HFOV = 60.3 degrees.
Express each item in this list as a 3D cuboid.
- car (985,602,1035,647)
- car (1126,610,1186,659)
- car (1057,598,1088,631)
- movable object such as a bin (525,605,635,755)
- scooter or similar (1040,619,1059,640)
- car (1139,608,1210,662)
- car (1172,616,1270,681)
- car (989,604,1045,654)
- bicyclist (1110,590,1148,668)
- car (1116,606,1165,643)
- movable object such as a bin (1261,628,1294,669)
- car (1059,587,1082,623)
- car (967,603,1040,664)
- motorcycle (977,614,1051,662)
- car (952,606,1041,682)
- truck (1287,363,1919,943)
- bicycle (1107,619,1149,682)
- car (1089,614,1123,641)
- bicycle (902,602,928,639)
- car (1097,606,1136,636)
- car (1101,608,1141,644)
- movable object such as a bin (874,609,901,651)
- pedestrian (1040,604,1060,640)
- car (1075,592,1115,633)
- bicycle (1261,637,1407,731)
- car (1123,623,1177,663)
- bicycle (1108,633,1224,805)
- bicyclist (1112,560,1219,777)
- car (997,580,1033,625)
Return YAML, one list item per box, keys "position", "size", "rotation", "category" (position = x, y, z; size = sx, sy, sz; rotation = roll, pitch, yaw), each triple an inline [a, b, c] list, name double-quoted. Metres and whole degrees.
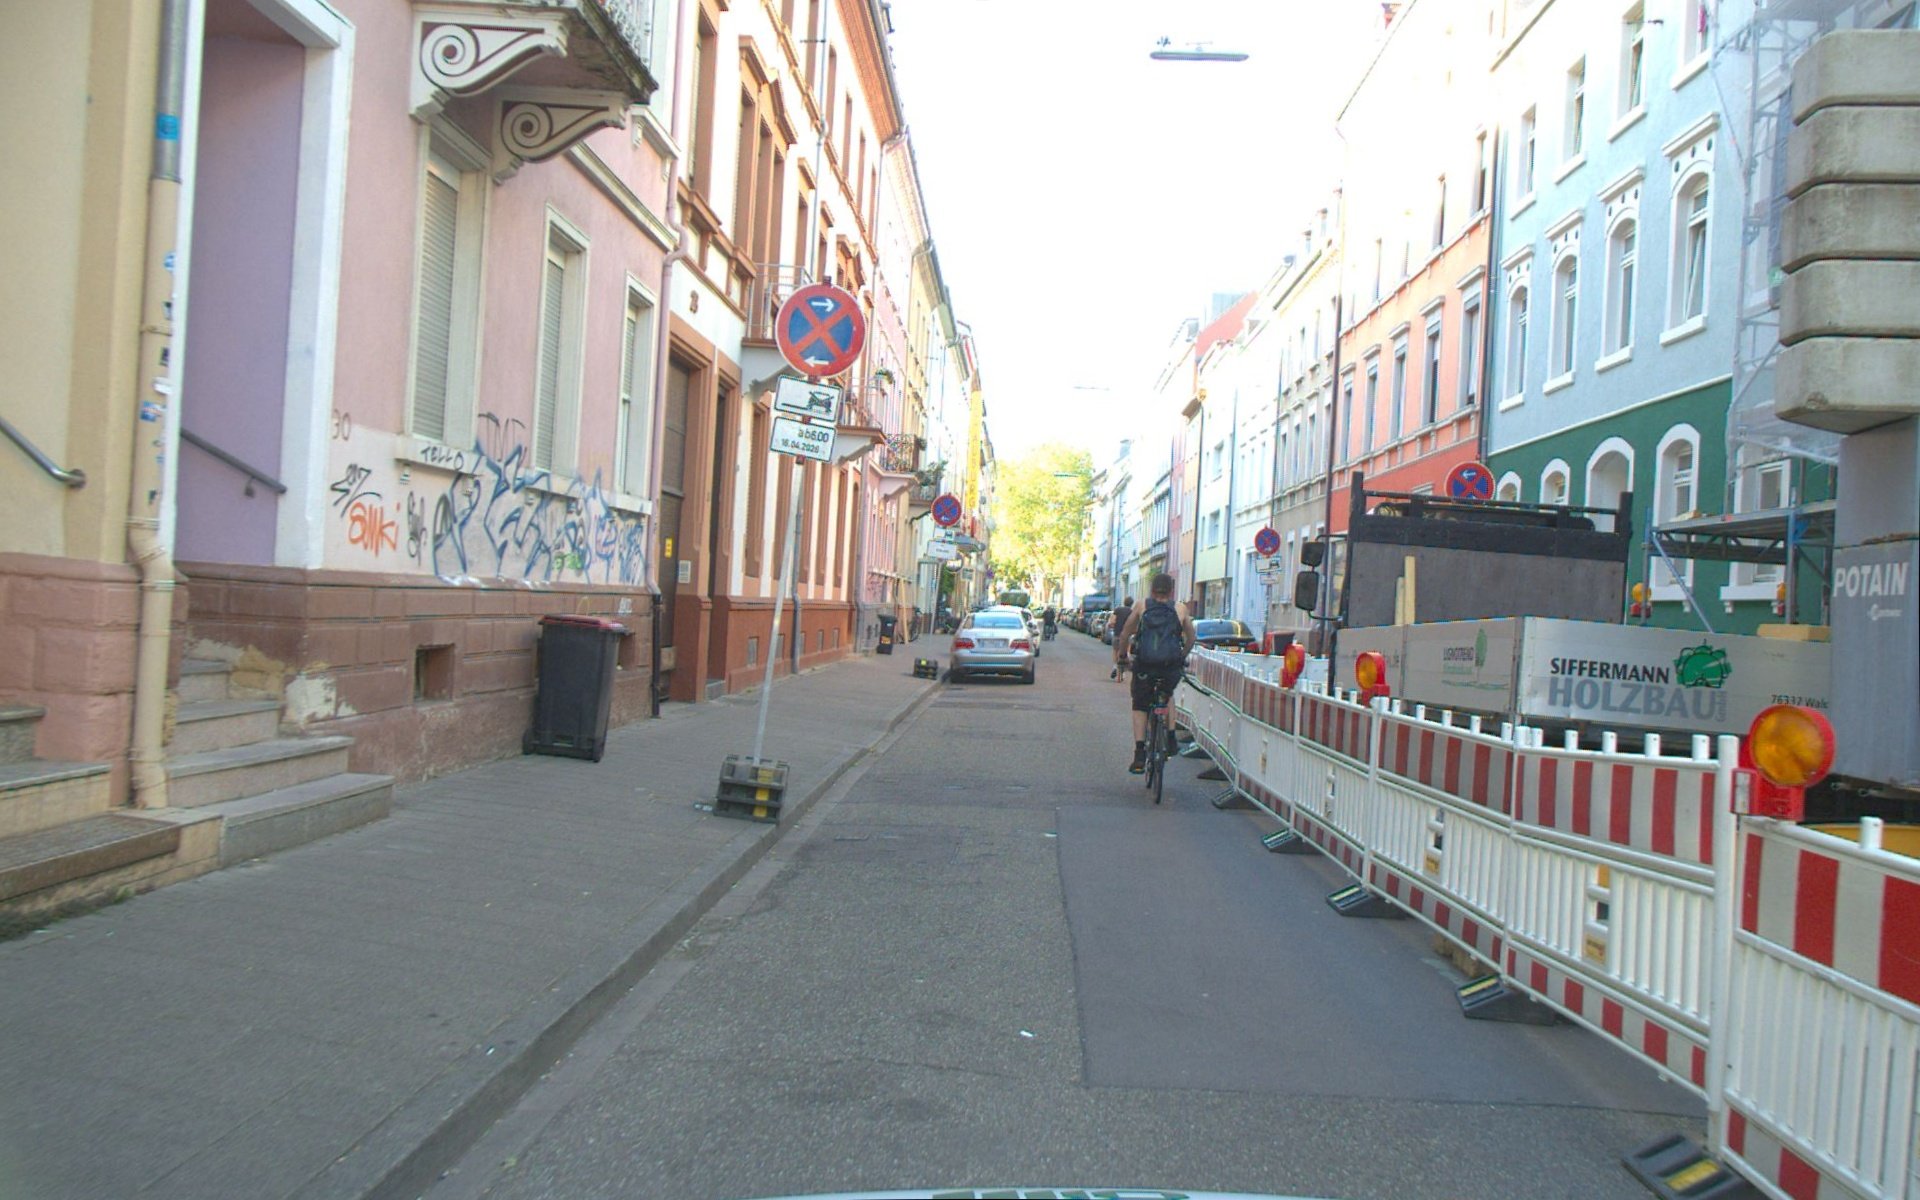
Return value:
- position: [1.733, 0.844, 57.202]
  size: [1.637, 1.467, 3.768]
  rotation: [2, -1, 2]
  category: "car"
- position: [6.747, 1.176, 57.219]
  size: [1.675, 1.583, 4.001]
  rotation: [2, -1, 2]
  category: "car"
- position: [9.202, 1.166, 135.396]
  size: [2.260, 2.582, 6.771]
  rotation: [2, -1, 2]
  category: "car"
- position: [-2.848, 0.590, 12.450]
  size: [0.593, 1.053, 0.596]
  rotation: [5, -1, 1]
  category: "movable object such as a bin"
- position: [4.074, 1.361, 75.382]
  size: [0.755, 0.888, 0.771]
  rotation: [5, -1, 0]
  category: "scooter or similar"
- position: [6.638, 1.064, 51.587]
  size: [1.779, 1.548, 4.001]
  rotation: [2, -1, 2]
  category: "car"
- position: [6.412, 1.155, 41.078]
  size: [1.779, 1.463, 4.791]
  rotation: [2, -1, 2]
  category: "car"
- position: [1.761, 0.886, 51.413]
  size: [1.637, 1.467, 4.166]
  rotation: [2, -1, 2]
  category: "car"
- position: [3.644, 0.612, 35.652]
  size: [0.687, 1.633, 0.813]
  rotation: [3, 1, 1]
  category: "bicyclist"
- position: [7.368, 1.001, 67.947]
  size: [1.675, 1.407, 4.001]
  rotation: [2, -1, 2]
  category: "car"
- position: [8.586, 1.312, 44.716]
  size: [0.721, 1.094, 0.677]
  rotation: [1, -1, -5]
  category: "movable object such as a bin"
- position: [12.215, 0.591, 182.726]
  size: [2.260, 3.834, 6.771]
  rotation: [2, -1, 2]
  category: "car"
- position: [1.215, 0.861, 44.670]
  size: [1.675, 1.407, 4.358]
  rotation: [4, 1, 4]
  category: "car"
- position: [1.587, 1.124, 48.615]
  size: [2.111, 1.383, 0.538]
  rotation: [1, 0, -16]
  category: "motorcycle"
- position: [0.771, 0.874, 34.111]
  size: [1.675, 1.407, 4.506]
  rotation: [2, -1, 2]
  category: "car"
- position: [4.448, 0.330, 12.384]
  size: [2.607, 2.862, 7.395]
  rotation: [5, 0, 2]
  category: "truck"
- position: [3.631, 1.068, 35.824]
  size: [0.687, 1.229, 2.343]
  rotation: [3, 1, 2]
  category: "bicycle"
- position: [8.293, 1.558, 94.305]
  size: [1.675, 1.473, 4.001]
  rotation: [2, -1, 2]
  category: "car"
- position: [-1.434, 0.658, 52.974]
  size: [0.580, 1.107, 2.079]
  rotation: [5, -1, 2]
  category: "bicycle"
- position: [7.784, 1.065, 82.615]
  size: [1.675, 1.418, 4.001]
  rotation: [2, -1, 2]
  category: "car"
- position: [7.528, 1.207, 77.473]
  size: [1.587, 1.577, 4.001]
  rotation: [2, -1, 2]
  category: "car"
- position: [-1.747, 0.714, 39.936]
  size: [0.532, 0.961, 0.487]
  rotation: [5, -1, 3]
  category: "movable object such as a bin"
- position: [4.106, 1.013, 75.784]
  size: [0.755, 1.605, 0.900]
  rotation: [5, -1, 0]
  category: "pedestrian"
- position: [8.958, 0.844, 109.926]
  size: [2.260, 2.582, 6.771]
  rotation: [2, -1, 2]
  category: "car"
- position: [5.204, 1.165, 23.055]
  size: [1.814, 1.129, 0.643]
  rotation: [5, -1, -5]
  category: "bicycle"
- position: [7.118, 1.607, 62.398]
  size: [1.675, 1.407, 4.001]
  rotation: [2, -1, 2]
  category: "car"
- position: [1.653, 0.915, 13.596]
  size: [0.687, 1.229, 2.342]
  rotation: [3, -1, 2]
  category: "bicycle"
- position: [1.663, 0.538, 13.509]
  size: [0.687, 1.661, 1.090]
  rotation: [3, -1, 2]
  category: "bicyclist"
- position: [3.266, 0.165, 98.792]
  size: [1.870, 2.540, 4.165]
  rotation: [3, 0, 0]
  category: "car"
